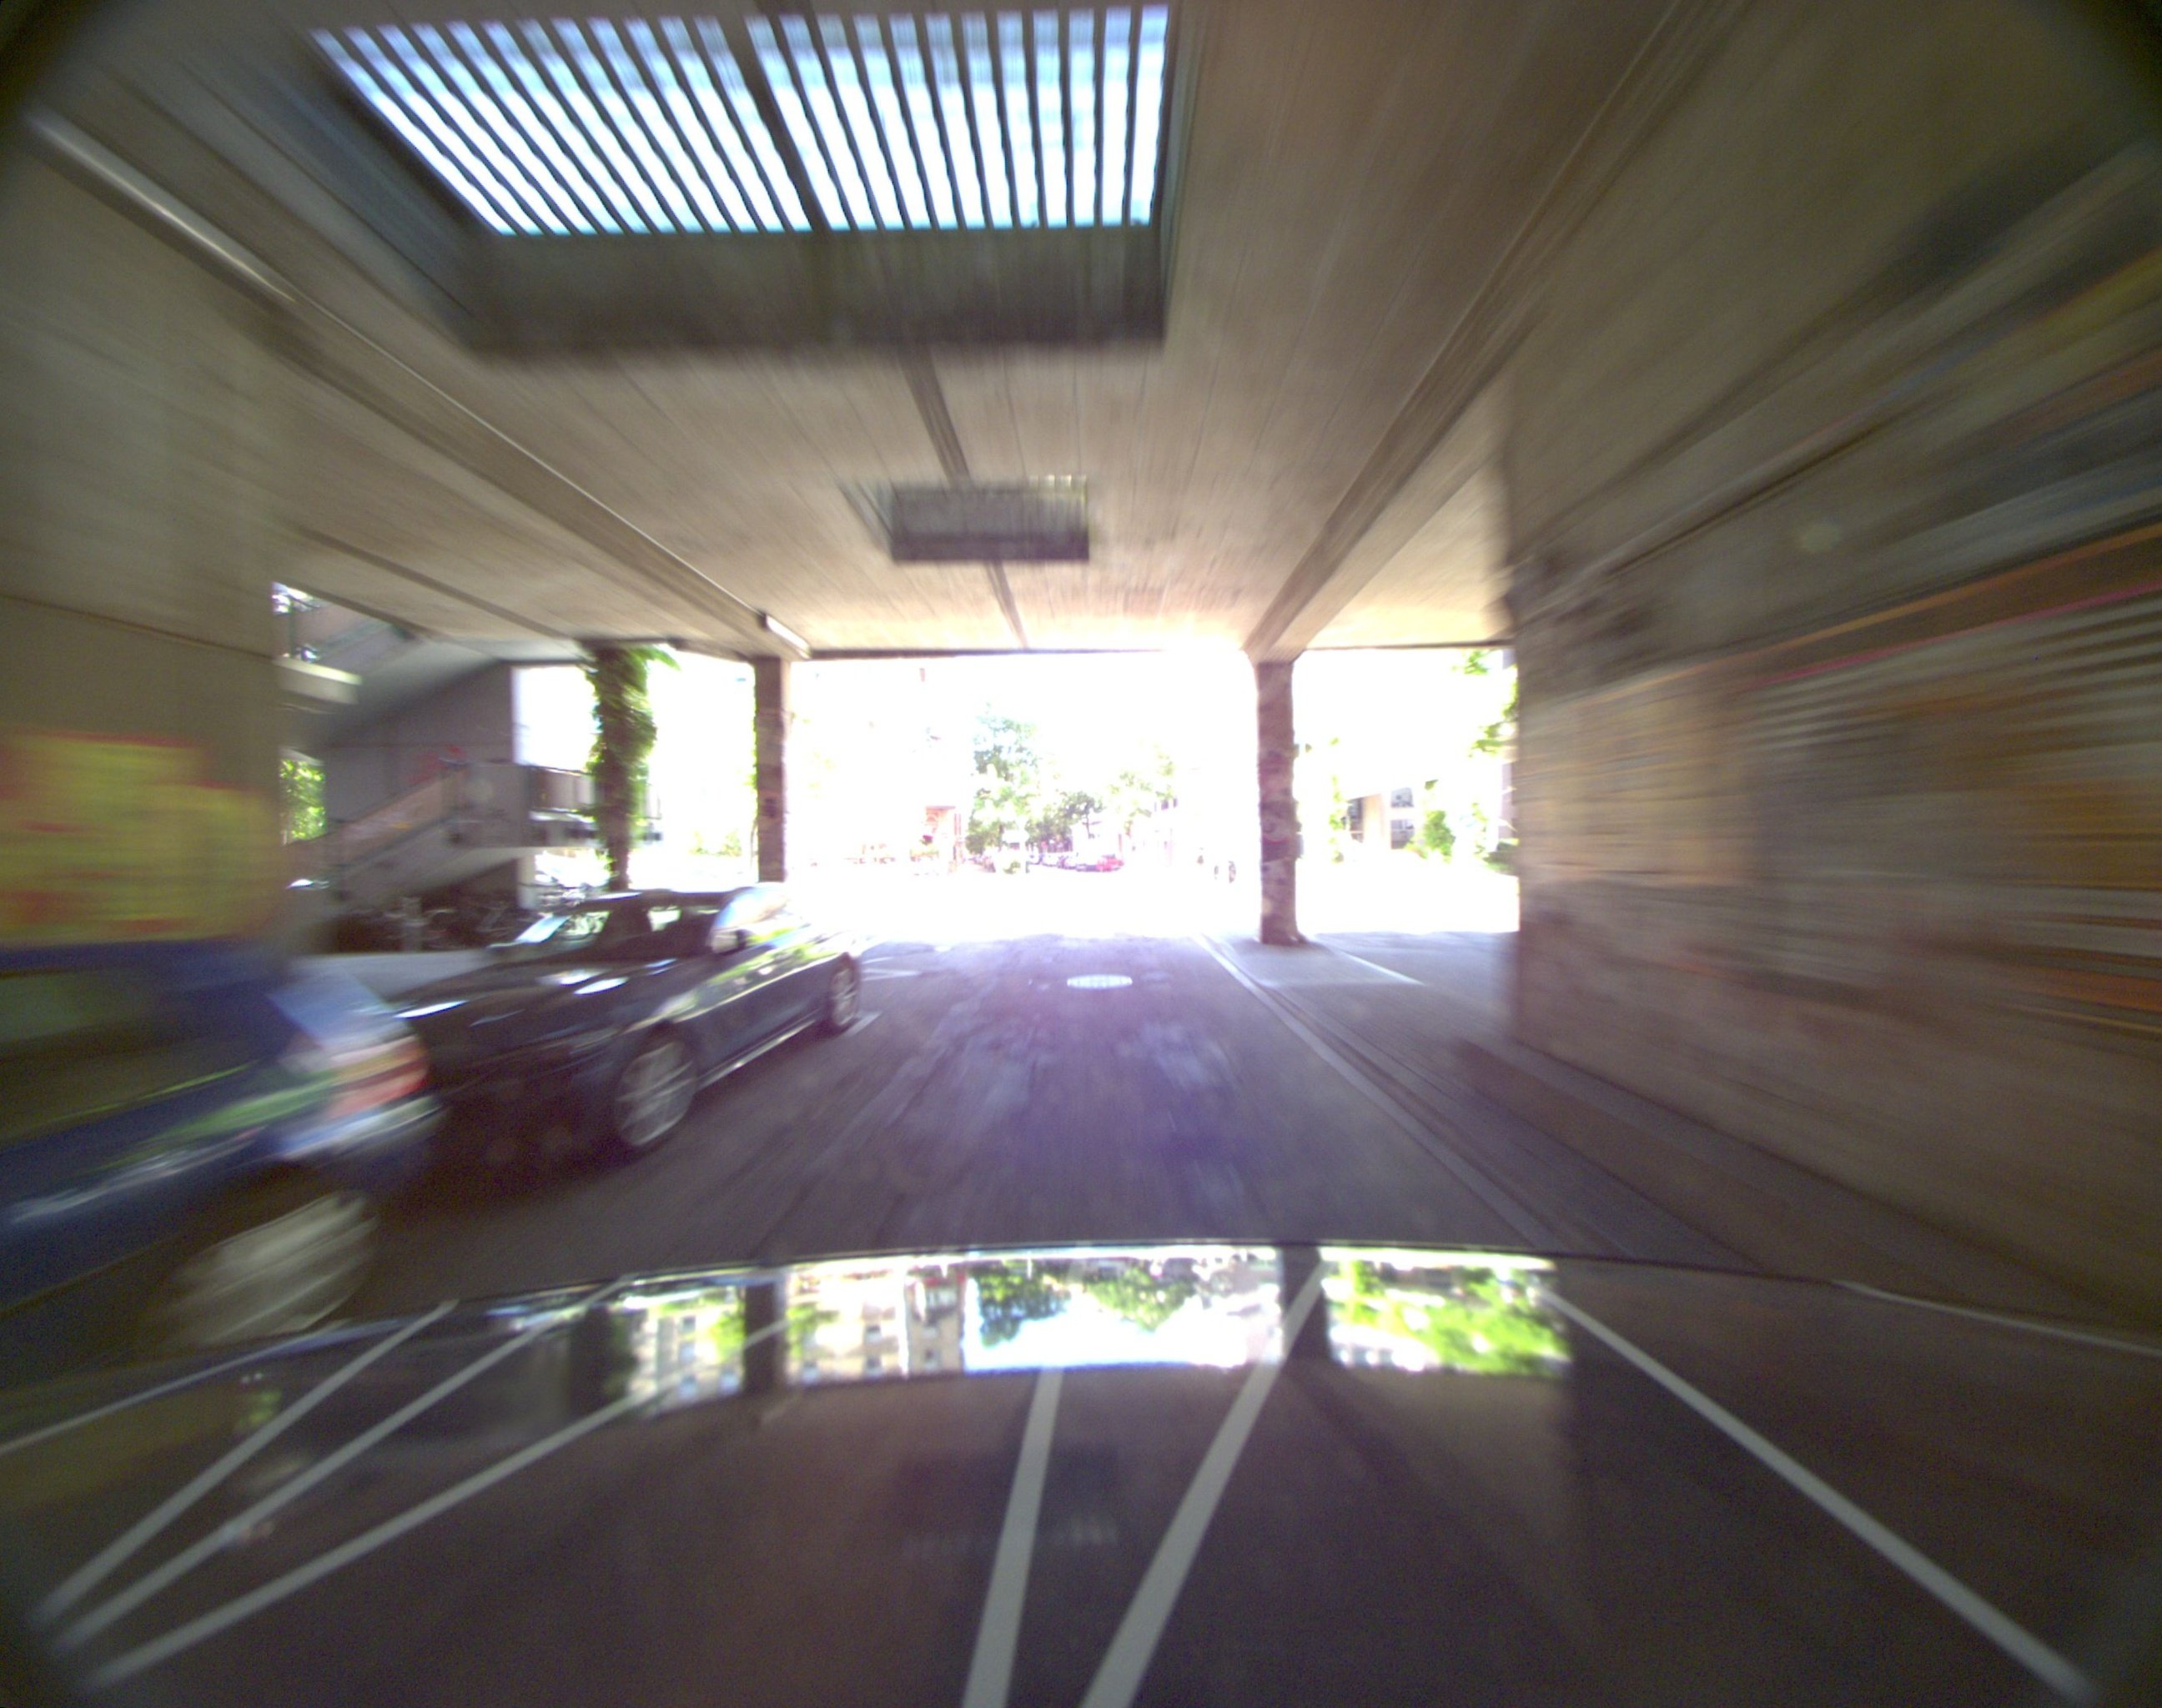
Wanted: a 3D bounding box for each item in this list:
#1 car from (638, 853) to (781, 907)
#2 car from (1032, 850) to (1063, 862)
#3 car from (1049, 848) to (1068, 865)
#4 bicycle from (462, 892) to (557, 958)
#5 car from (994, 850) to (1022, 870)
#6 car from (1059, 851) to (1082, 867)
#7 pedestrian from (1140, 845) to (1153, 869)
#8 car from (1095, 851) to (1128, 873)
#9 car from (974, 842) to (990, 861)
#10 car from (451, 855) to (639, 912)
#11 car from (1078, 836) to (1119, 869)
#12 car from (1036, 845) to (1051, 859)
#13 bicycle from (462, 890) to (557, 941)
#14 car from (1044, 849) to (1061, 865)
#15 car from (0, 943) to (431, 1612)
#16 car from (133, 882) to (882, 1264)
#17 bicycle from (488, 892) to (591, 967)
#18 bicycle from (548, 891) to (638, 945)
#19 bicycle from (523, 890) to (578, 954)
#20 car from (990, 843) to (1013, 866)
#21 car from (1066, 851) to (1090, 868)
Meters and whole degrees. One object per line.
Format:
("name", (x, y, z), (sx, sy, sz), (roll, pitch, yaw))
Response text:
("car", (-11.388, 0.772, 23.496), (3.529, 1.510, 1.724), (-1, 2, -1))
("car", (-4.516, 0.285, 101.779), (4.000, 1.576, 1.817), (-1, -2, -8))
("car", (-2.593, 0.312, 86.814), (1.777, 1.871, 3.997), (-1, 0, -7))
("bicycle", (-9.681, 1.169, 12.952), (0.415, 0.995, 1.801), (0, -1, -6))
("car", (-5.480, 0.471, 56.699), (1.779, 1.432, 3.997), (2, -1, -9))
("car", (-1.054, 0.494, 76.172), (1.785, 1.548, 3.819), (-1, 1, -8))
("pedestrian", (4.200, 0.184, 48.862), (0.632, 1.567, 0.532), (0, 1, 26))
("car", (2.113, 0.530, 54.185), (1.692, 1.454, 3.997), (-1, 1, -8))
("car", (-15.295, -0.335, 116.875), (2.276, 2.646, 4.320), (-1, -1, -9))
("car", (-16.591, 0.902, 23.674), (4.500, 1.618, 1.874), (-1, 2, 2))
("car", (1.330, -0.123, 59.199), (2.220, 2.437, 5.090), (-1, 1, -10))
("car", (-5.276, -0.236, 106.098), (1.777, 1.871, 3.997), (-1, 1, -7))
("bicycle", (-11.510, 1.218, 15.302), (1.799, 0.995, 0.416), (0, -2, 11))
("car", (-3.533, 0.388, 93.535), (1.777, 1.871, 3.997), (-1, 1, -7))
("car", (-3.401, 1.073, 0.868), (1.766, 1.402, 4.063), (-1, 1, 1))
("car", (-3.170, 1.076, 5.676), (1.855, 1.424, 4.607), (-2, 1, 3))
("bicycle", (-8.375, 1.128, 11.841), (0.484, 0.995, 1.801), (0, 0, -7))
("bicycle", (-9.627, 1.237, 14.981), (1.798, 1.024, 0.416), (-1, -2, 18))
("bicycle", (-9.206, 1.153, 13.228), (0.416, 0.995, 1.615), (1, -1, -21))
("car", (-7.449, 0.077, 70.817), (1.997, 2.017, 4.300), (-1, -1, -8))
("car", (-0.291, 0.517, 71.232), (1.695, 1.548, 3.819), (-1, 1, -8))
